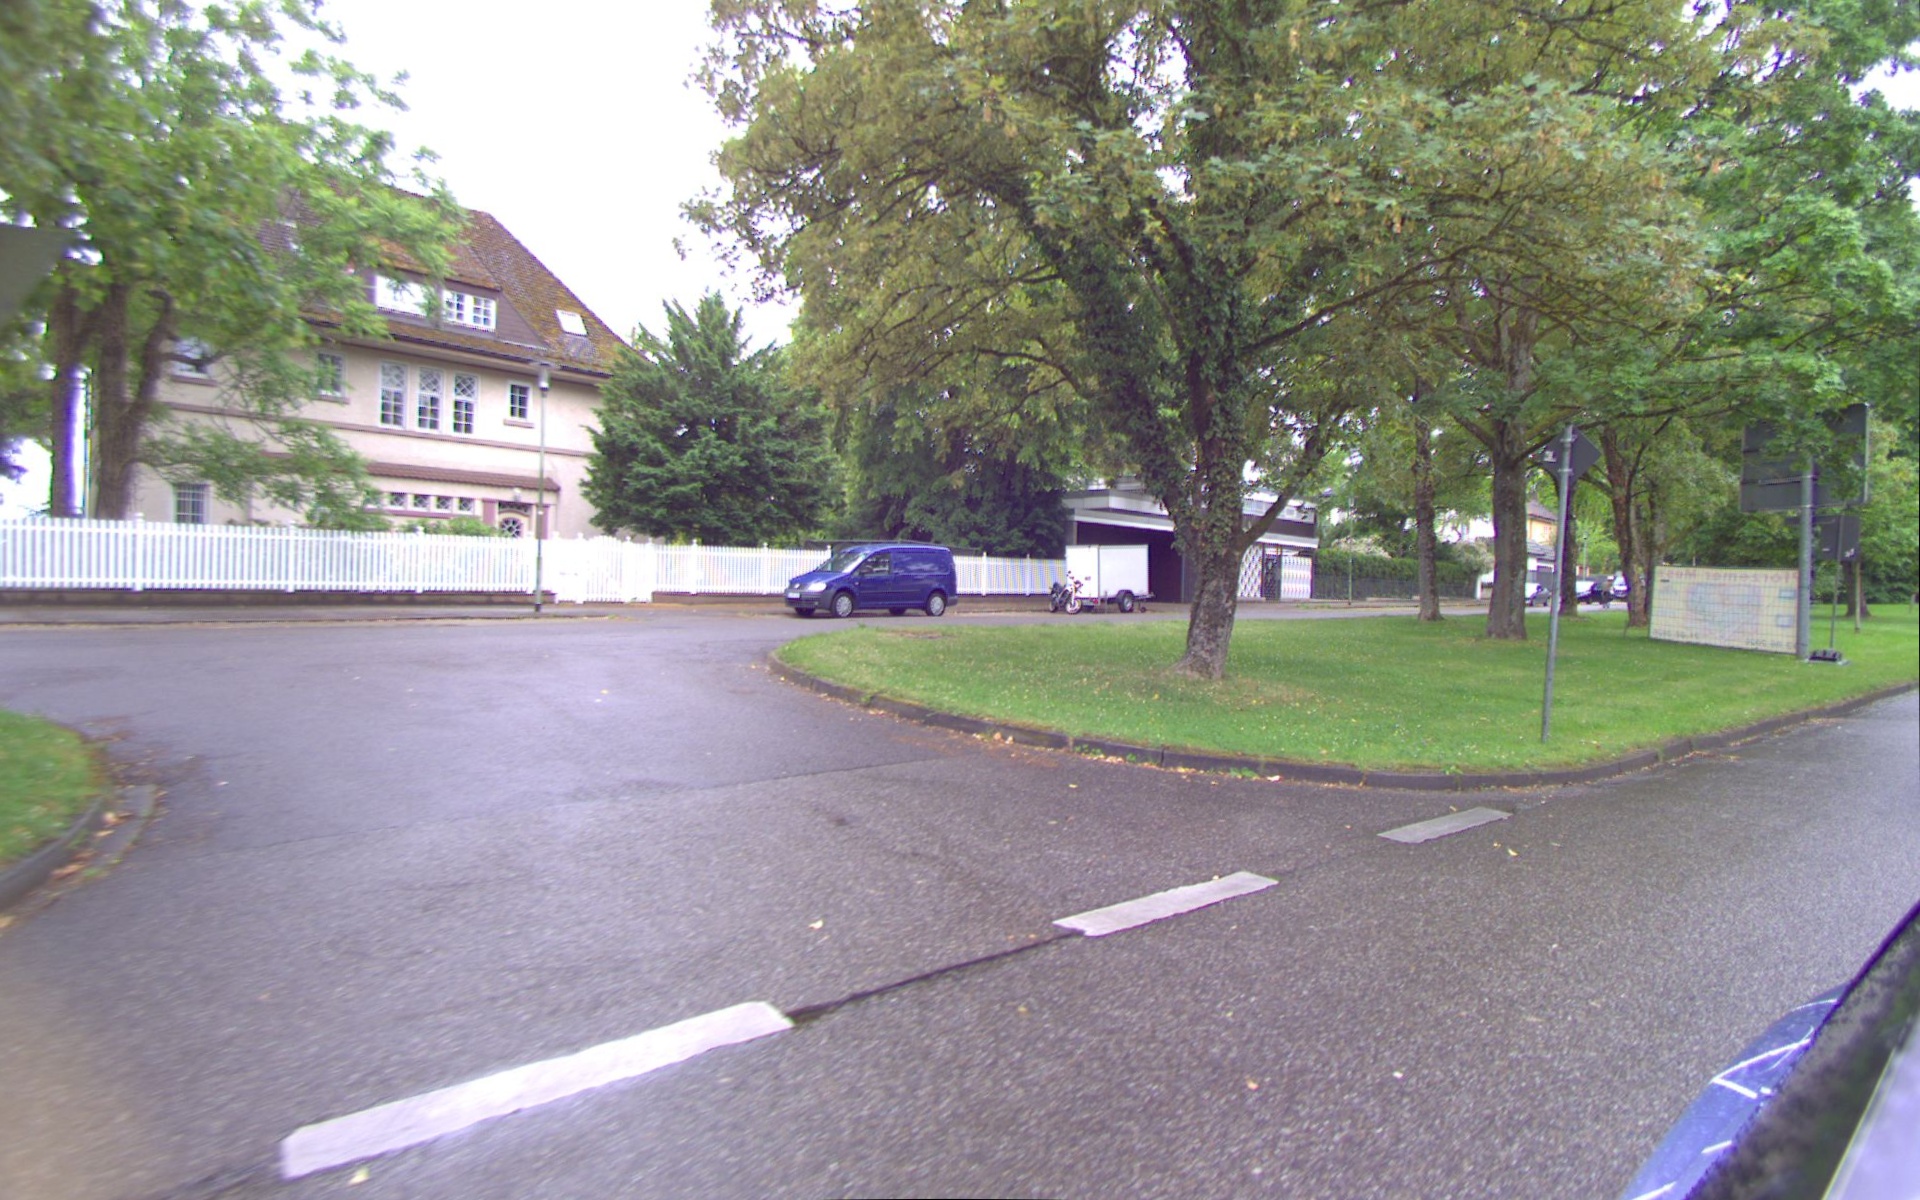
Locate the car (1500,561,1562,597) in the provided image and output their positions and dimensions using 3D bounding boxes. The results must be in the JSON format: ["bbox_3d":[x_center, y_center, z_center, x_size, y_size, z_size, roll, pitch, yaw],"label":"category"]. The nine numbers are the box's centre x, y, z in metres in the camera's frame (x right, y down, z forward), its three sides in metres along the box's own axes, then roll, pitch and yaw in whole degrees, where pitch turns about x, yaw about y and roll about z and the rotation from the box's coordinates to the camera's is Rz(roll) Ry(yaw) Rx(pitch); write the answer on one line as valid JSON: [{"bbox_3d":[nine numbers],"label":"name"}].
[{"bbox_3d":[34.147,-1.248,60.530,3.930,2.038,1.998,0,2,-41],"label":"car"}]

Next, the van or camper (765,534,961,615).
[{"bbox_3d":[-2.334,-0.605,25.210,1.994,1.831,4.699,0,0,45],"label":"van or camper"}]

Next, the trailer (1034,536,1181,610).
[{"bbox_3d":[4.676,-0.796,31.602,5.106,2.143,1.768,-1,0,-43],"label":"trailer"}]
